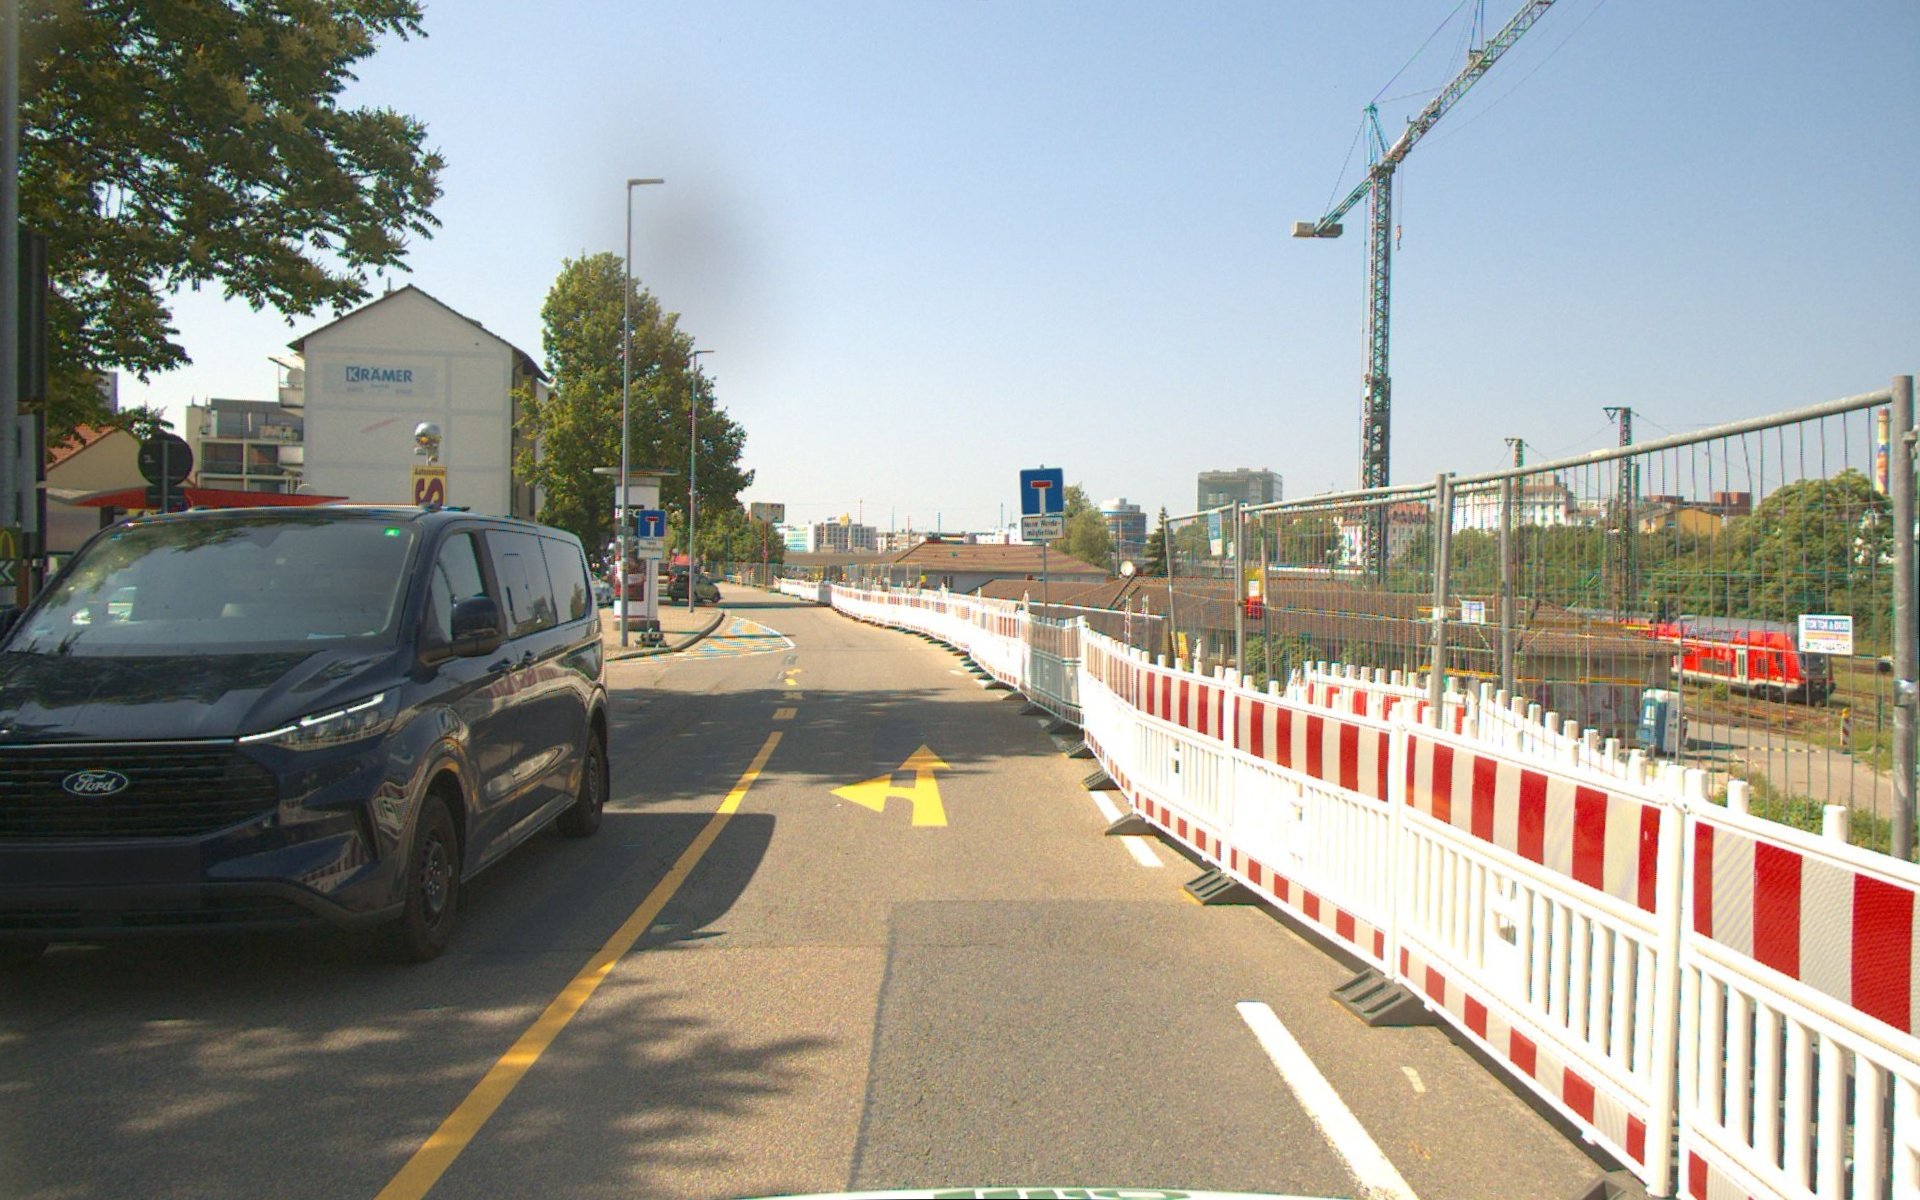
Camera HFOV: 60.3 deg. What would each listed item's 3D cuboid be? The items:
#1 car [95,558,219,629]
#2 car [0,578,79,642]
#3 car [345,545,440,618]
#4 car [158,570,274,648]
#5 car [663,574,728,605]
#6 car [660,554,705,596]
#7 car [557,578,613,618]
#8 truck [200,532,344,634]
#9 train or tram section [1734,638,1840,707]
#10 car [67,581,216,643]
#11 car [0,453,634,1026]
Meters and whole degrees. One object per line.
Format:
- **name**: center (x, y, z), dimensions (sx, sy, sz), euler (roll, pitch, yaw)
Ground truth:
- **car**: center (-24.693, -0.173, 51.064), dimensions (1.955, 2.049, 4.490), euler (1, 0, -6)
- **car**: center (-25.324, 0.235, 42.556), dimensions (4.301, 1.613, 1.968), euler (2, 0, -44)
- **car**: center (-19.051, -0.630, 55.758), dimensions (2.095, 2.324, 4.703), euler (1, 0, -7)
- **car**: center (-16.682, 0.186, 36.986), dimensions (2.024, 1.622, 4.381), euler (1, 0, -29)
- **car**: center (-14.822, -0.576, 92.873), dimensions (1.696, 1.666, 3.260), euler (1, 0, 42)
- **car**: center (-17.836, -1.594, 106.567), dimensions (2.489, 2.564, 5.111), euler (1, 0, -6)
- **car**: center (-16.280, -0.103, 71.652), dimensions (1.829, 1.657, 3.976), euler (1, 0, -20)
- **truck**: center (-21.508, -0.531, 52.009), dimensions (2.224, 2.954, 5.939), euler (2, 0, -3)
- **train or tram section**: center (50.495, 4.349, 101.265), dimensions (2.951, 3.766, 8.979), euler (3, 0, 8)
- **car**: center (-21.268, 0.312, 43.178), dimensions (1.751, 1.513, 4.001), euler (1, 0, 2)
- **car**: center (-3.219, 0.503, 8.564), dimensions (2.133, 2.002, 5.442), euler (-1, 0, -2)
